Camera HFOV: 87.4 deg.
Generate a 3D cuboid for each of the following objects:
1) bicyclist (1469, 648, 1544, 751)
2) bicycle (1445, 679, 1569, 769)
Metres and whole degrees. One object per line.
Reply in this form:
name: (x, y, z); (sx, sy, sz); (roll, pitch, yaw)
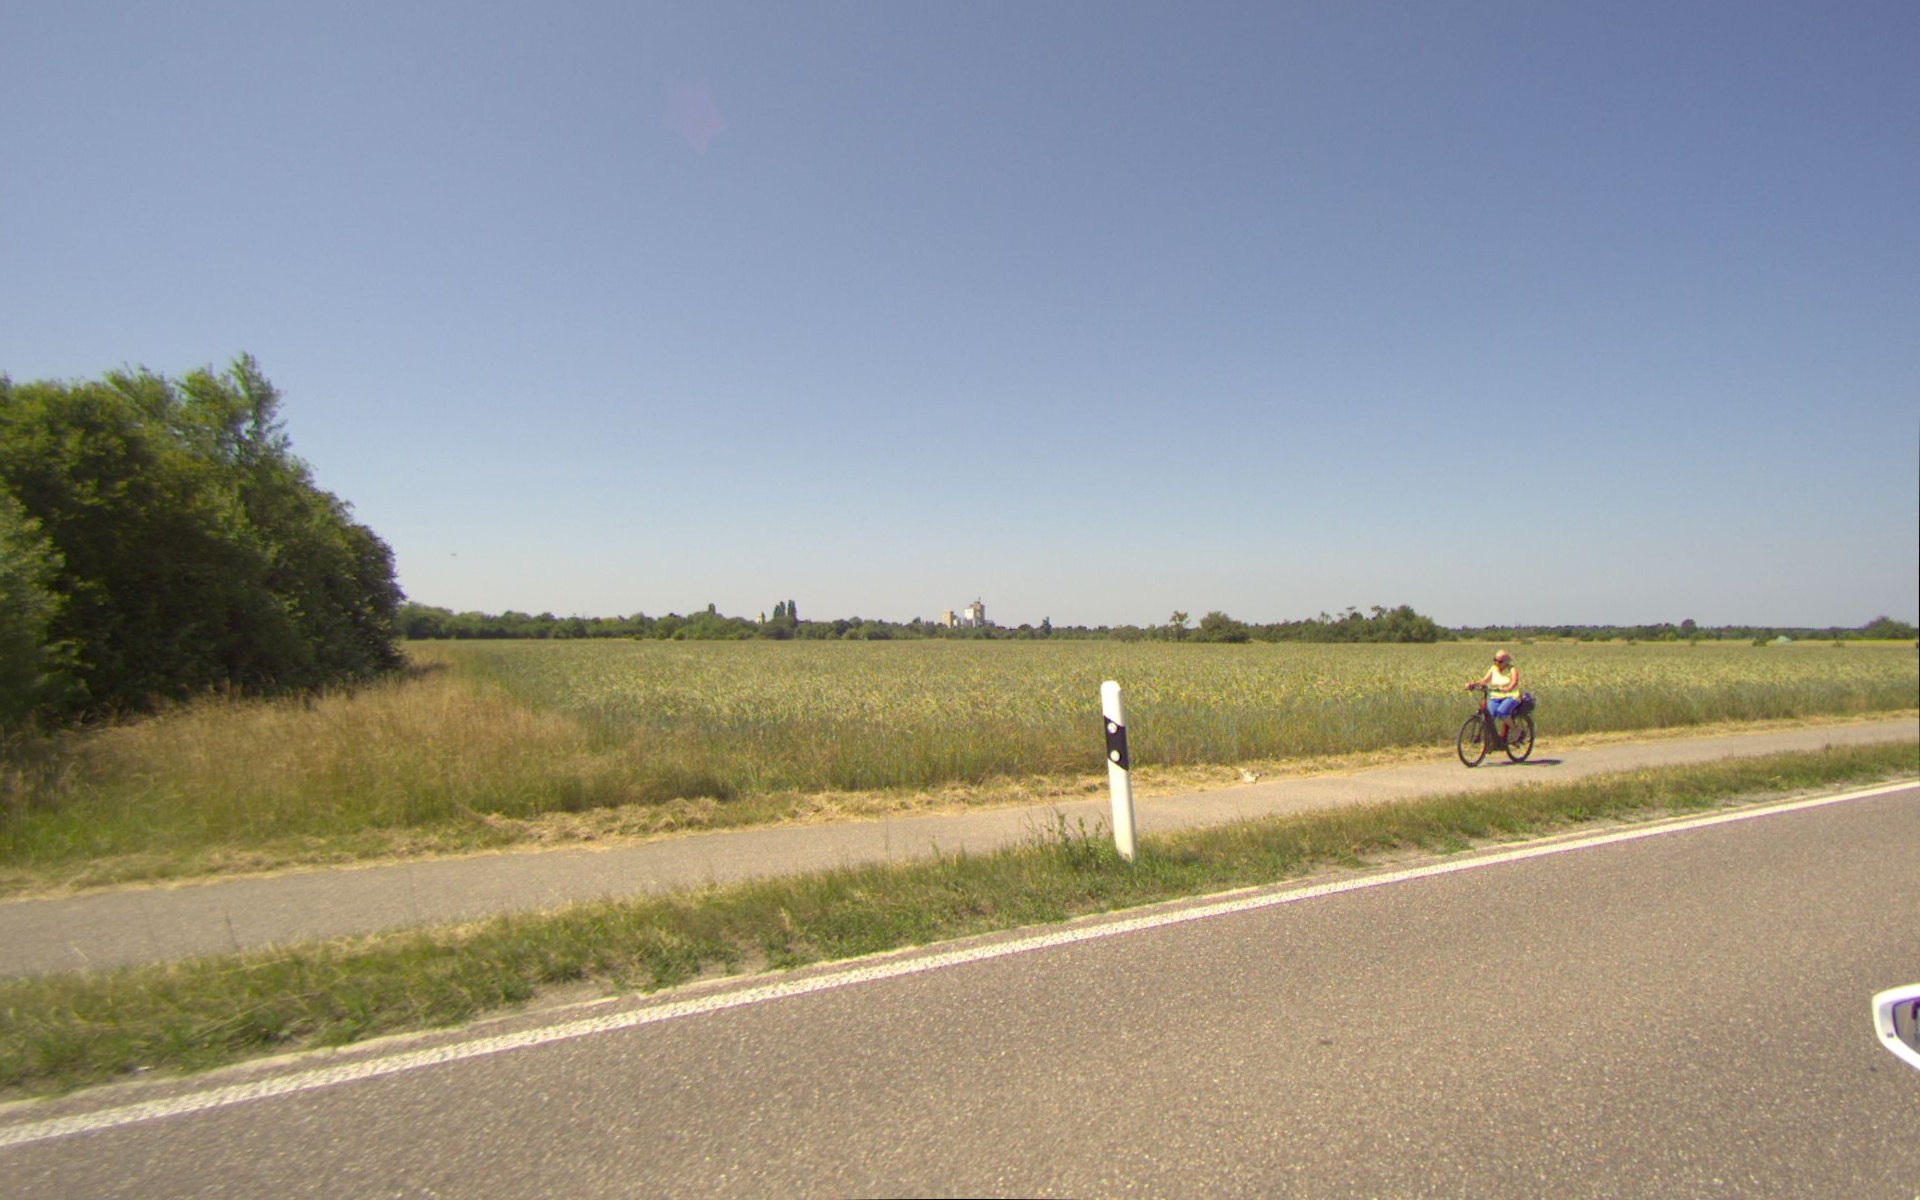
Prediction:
bicyclist: (8.111, 1.449, 14.912); (0.813, 1.457, 0.660); (2, -1, -30)
bicycle: (8.144, 1.802, 14.936); (1.940, 1.192, 0.691); (1, -2, -30)
